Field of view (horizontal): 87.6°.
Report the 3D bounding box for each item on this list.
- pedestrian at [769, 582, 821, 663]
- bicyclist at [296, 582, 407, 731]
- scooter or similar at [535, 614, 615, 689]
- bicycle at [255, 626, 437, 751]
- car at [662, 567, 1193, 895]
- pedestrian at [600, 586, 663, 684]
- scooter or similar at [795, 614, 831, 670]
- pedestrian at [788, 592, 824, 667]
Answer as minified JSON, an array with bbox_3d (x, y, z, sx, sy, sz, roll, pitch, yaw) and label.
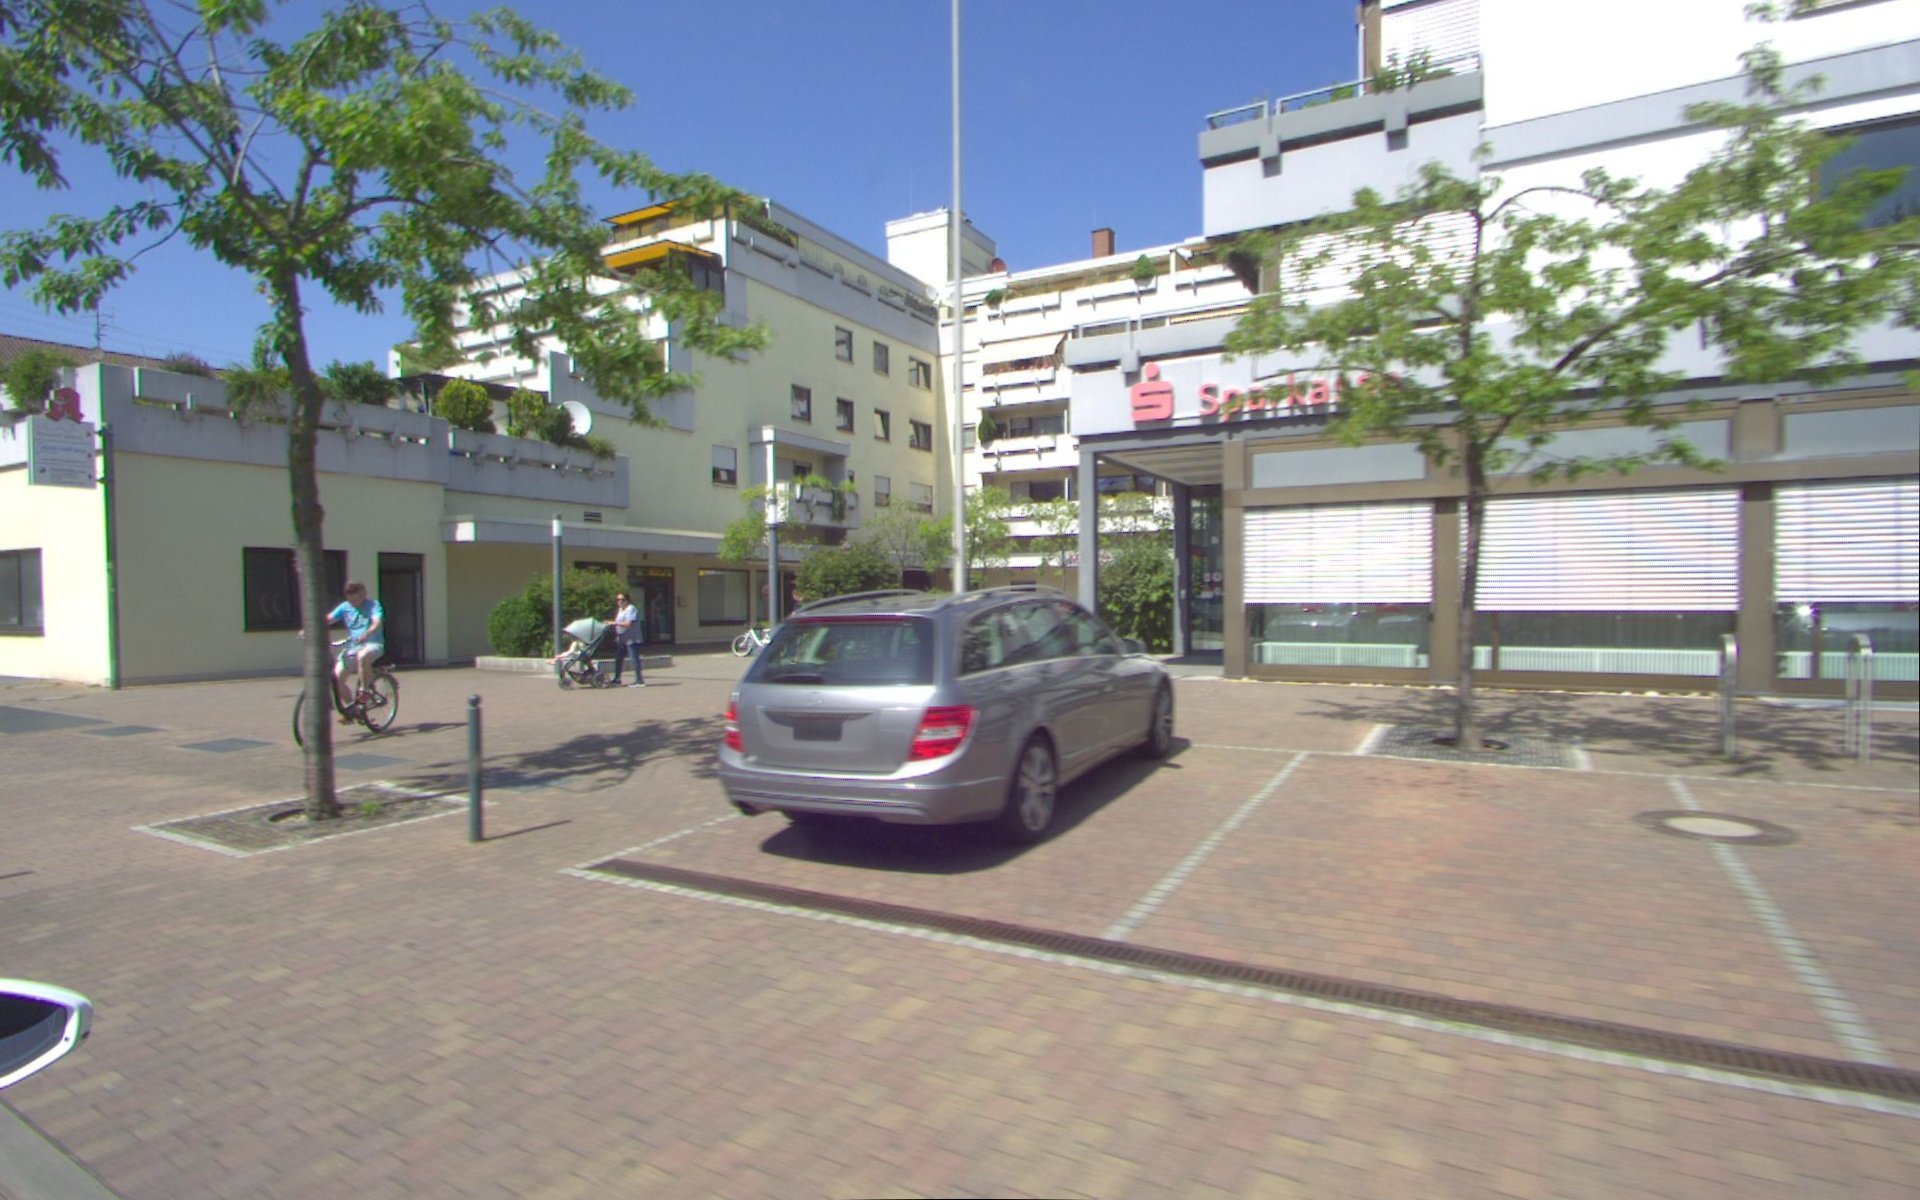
[{"bbox_3d":[-3.679,0.493,22.376,0.887,1.760,0.702,0,1,23],"label":"pedestrian"},{"bbox_3d":[-6.552,0.589,10.817,0.658,1.548,0.761,0,3,4],"label":"bicyclist"},{"bbox_3d":[-6.060,0.791,15.765,1.031,1.121,0.623,-1,1,-38],"label":"scooter or similar"},{"bbox_3d":[-6.549,0.901,10.820,0.663,1.124,1.894,0,2,4],"label":"bicycle"},{"bbox_3d":[0.202,0.575,7.247,1.886,1.533,4.571,-1,2,26],"label":"car"},{"bbox_3d":[-5.353,0.556,16.311,0.792,1.541,0.700,0,1,-39],"label":"pedestrian"},{"bbox_3d":[-2.959,0.830,20.134,0.580,1.089,0.803,-1,1,-17],"label":"scooter or similar"},{"bbox_3d":[-3.222,0.603,20.903,0.657,1.517,0.809,0,1,-16],"label":"pedestrian"}]
